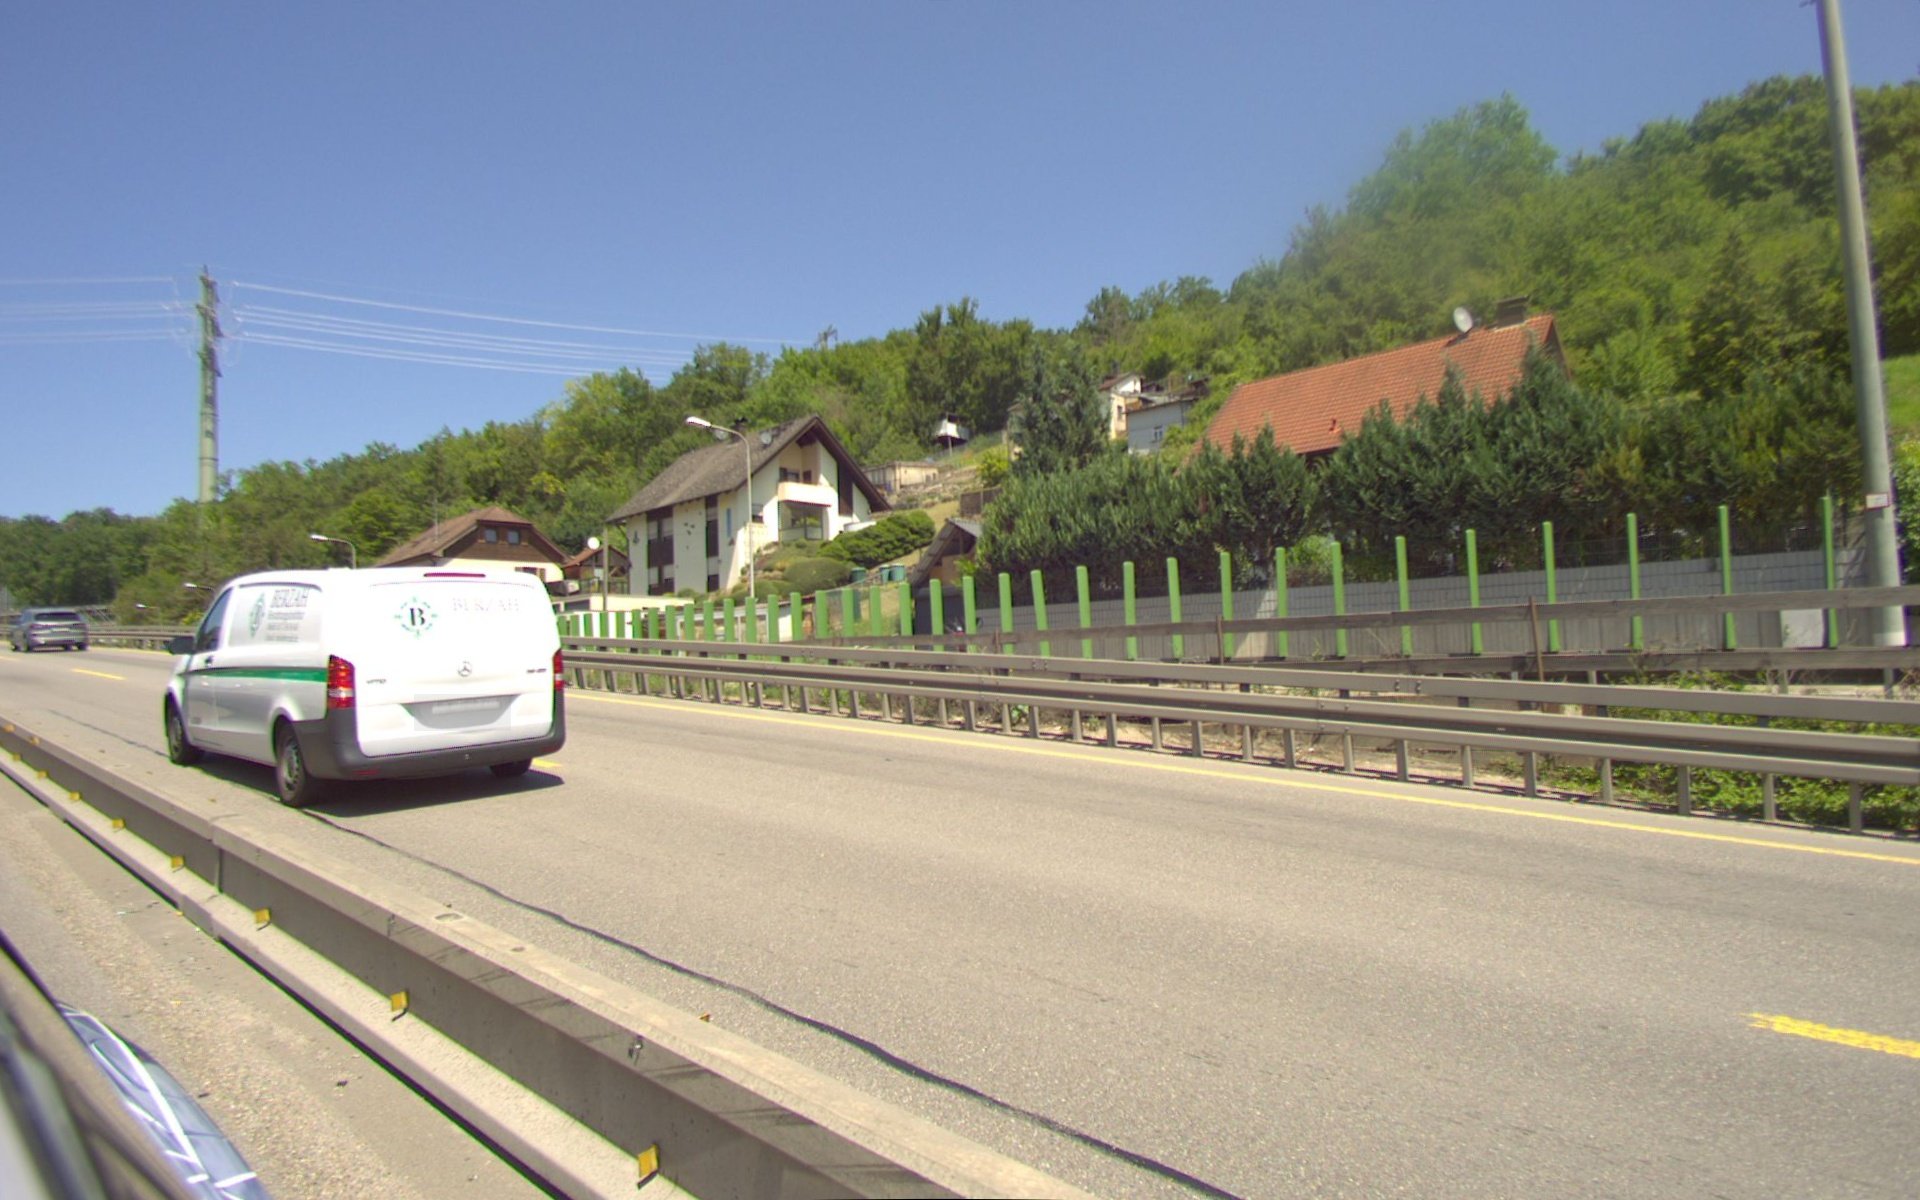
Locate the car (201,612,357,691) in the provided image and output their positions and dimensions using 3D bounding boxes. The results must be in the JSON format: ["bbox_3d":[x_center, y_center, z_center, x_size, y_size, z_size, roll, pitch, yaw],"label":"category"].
[{"bbox_3d":[-14.225,0.993,21.057,4.050,1.453,1.731,-1,0,41],"label":"car"}]

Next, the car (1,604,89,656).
[{"bbox_3d":[-35.139,1.107,38.816,4.506,1.841,1.973,-1,0,41],"label":"car"}]

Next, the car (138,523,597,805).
[{"bbox_3d":[-5.757,0.462,9.467,5.323,1.920,2.135,-1,-1,41],"label":"car"}]
